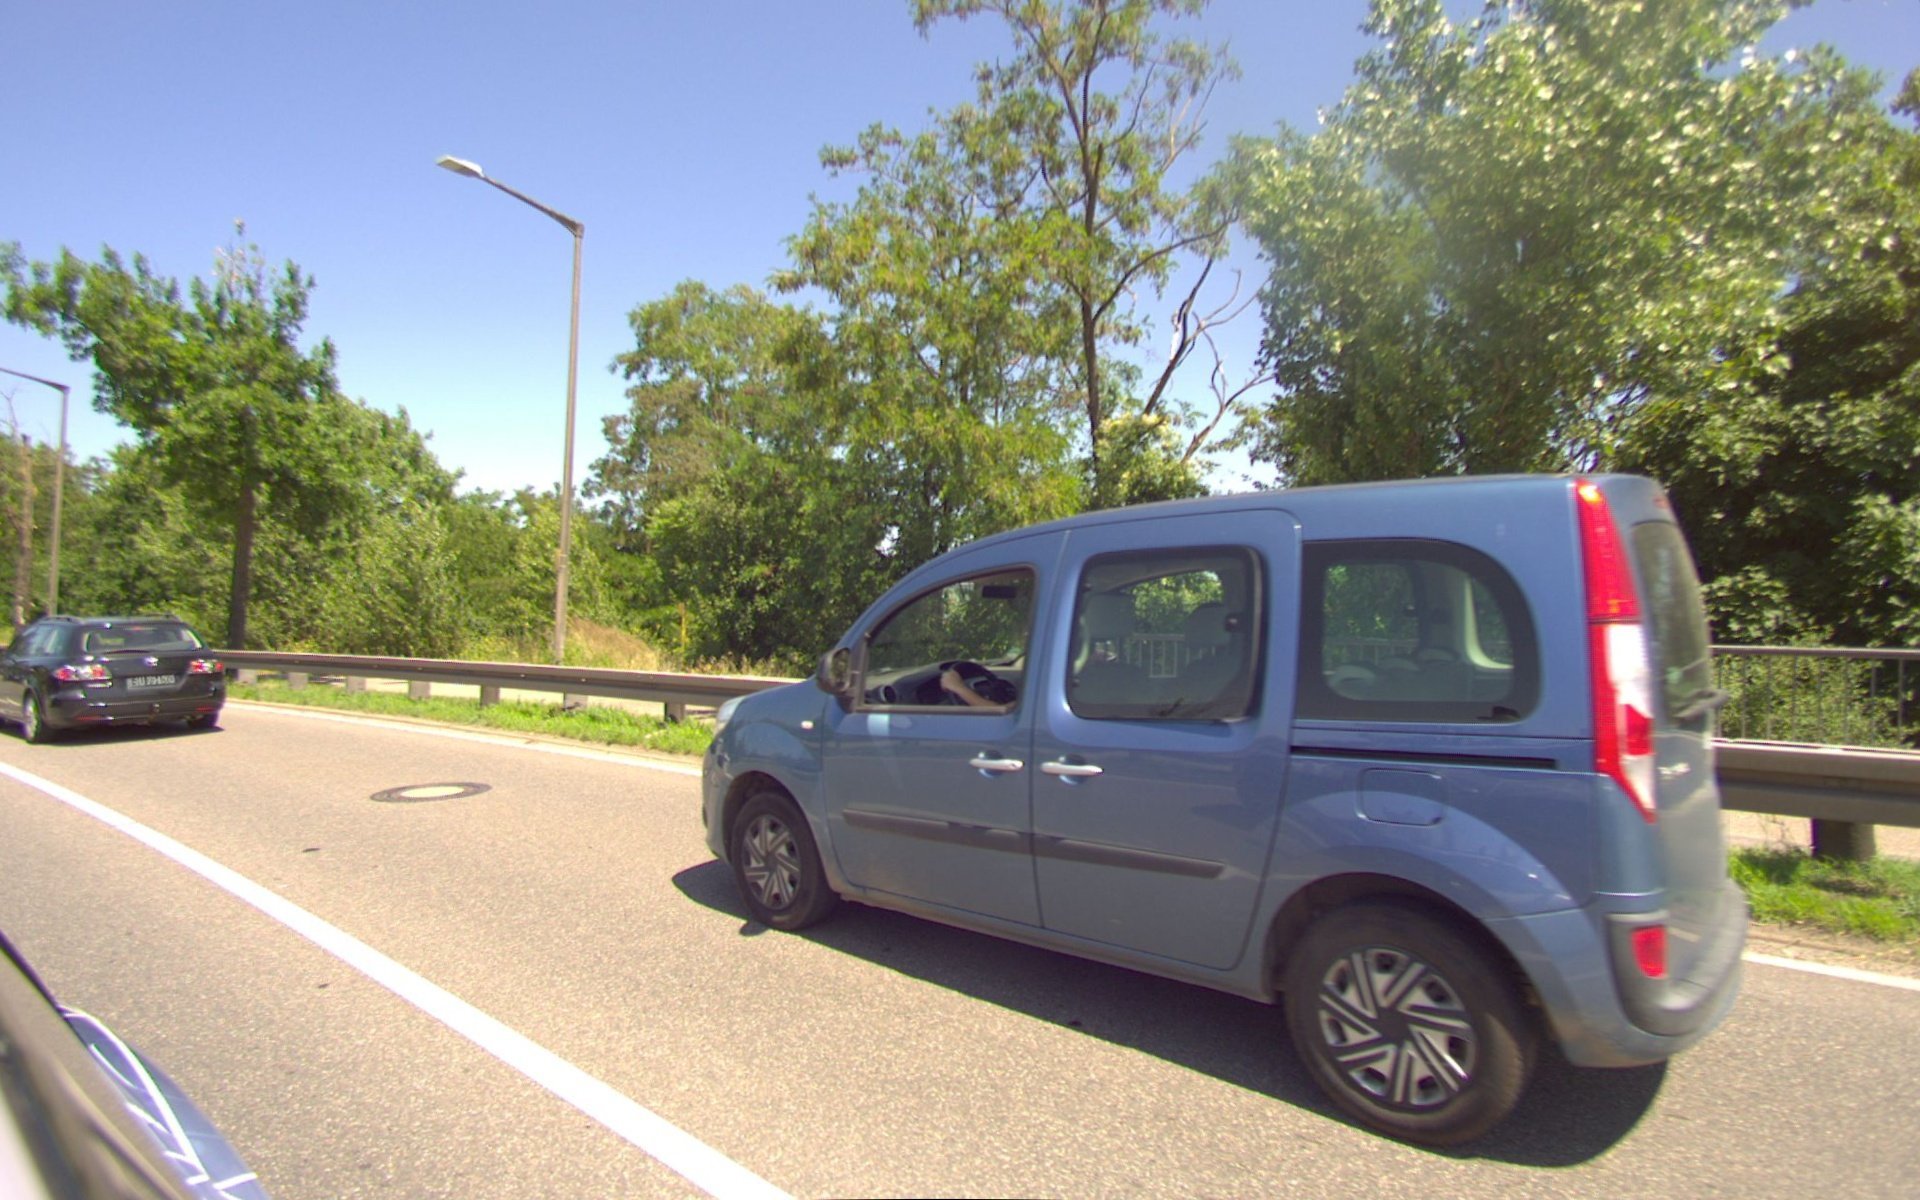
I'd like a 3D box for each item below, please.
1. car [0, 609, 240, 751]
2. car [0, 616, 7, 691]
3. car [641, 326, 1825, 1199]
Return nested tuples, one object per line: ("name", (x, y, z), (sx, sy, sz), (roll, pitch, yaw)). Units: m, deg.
("car", (-10.878, 0.872, 12.621), (4.559, 1.453, 1.741), (-1, 0, 36))
("car", (-20.532, 1.057, 19.789), (4.091, 1.438, 1.704), (-1, -1, 31))
("car", (0.666, 0.393, 4.104), (4.272, 1.869, 1.739), (-1, 0, 40))
